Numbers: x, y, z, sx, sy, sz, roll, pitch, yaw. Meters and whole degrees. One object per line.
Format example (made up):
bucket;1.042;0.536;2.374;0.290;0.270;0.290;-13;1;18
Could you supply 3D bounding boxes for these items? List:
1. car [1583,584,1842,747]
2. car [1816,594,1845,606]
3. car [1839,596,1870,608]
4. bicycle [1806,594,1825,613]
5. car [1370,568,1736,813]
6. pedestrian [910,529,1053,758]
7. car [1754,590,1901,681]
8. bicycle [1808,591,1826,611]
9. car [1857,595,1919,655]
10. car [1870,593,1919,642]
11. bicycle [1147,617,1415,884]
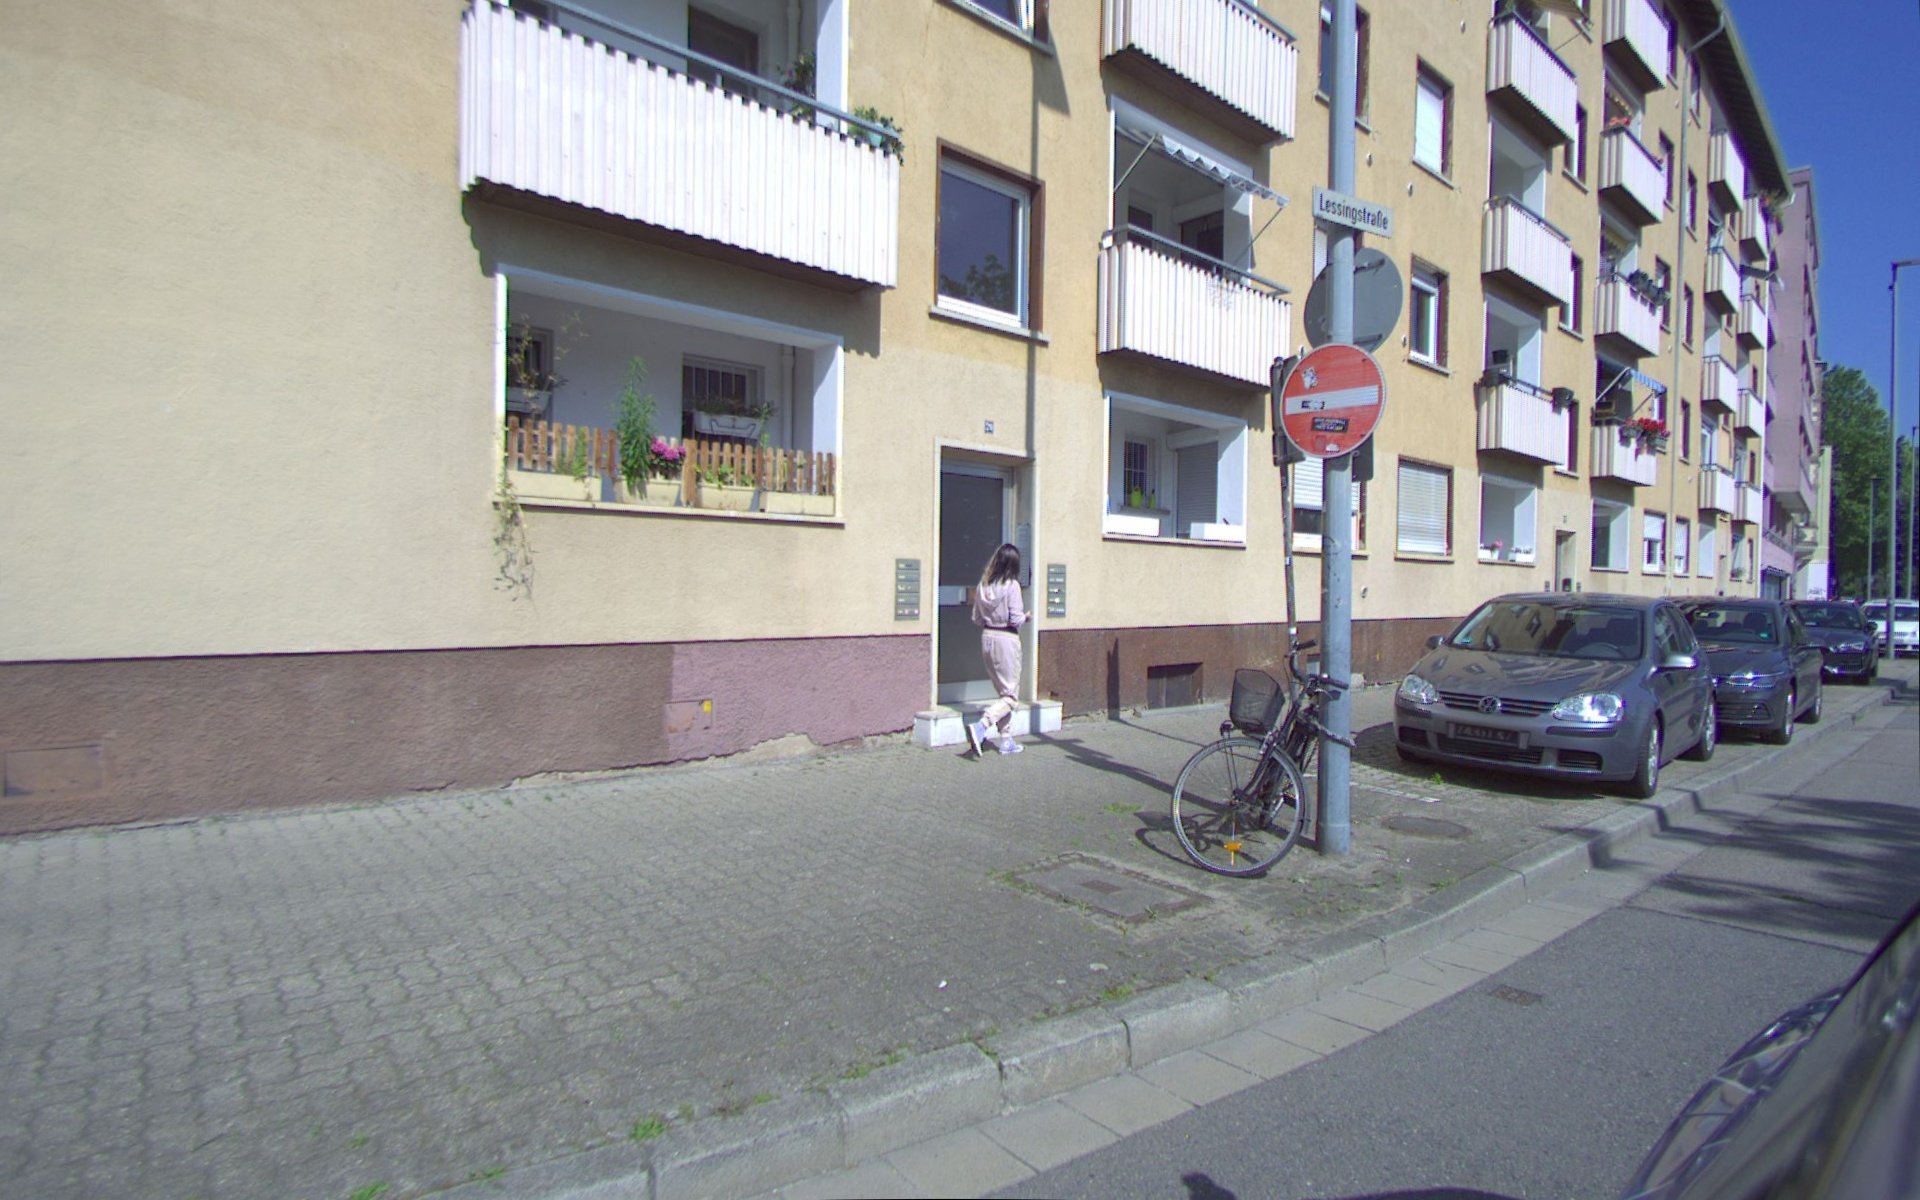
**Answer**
car;8.598;0.583;11.418;4.186;1.480;1.712;0;2;-44
car;122.850;-0.075;142.788;1.781;1.538;3.938;2;2;21
car;120.742;0.276;136.671;1.849;1.470;4.173;3;3;23
bicycle;45.349;0.184;53.643;0.650;0.982;1.836;2;2;42
car;5.052;0.540;8.358;1.703;1.533;4.026;1;1;44
pedestrian;0.163;0.294;7.688;0.809;1.629;0.657;0;2;-41
car;16.439;0.571;19.101;1.801;1.456;4.517;2;2;44
bicycle;50.706;0.051;59.888;0.654;1.160;1.604;4;3;38
car;26.020;0.641;27.850;1.757;1.524;4.061;2;2;45
car;33.173;0.576;35.420;1.737;1.560;4.283;2;2;45
bicycle;1.770;0.689;5.417;0.702;1.138;1.718;2;1;42
